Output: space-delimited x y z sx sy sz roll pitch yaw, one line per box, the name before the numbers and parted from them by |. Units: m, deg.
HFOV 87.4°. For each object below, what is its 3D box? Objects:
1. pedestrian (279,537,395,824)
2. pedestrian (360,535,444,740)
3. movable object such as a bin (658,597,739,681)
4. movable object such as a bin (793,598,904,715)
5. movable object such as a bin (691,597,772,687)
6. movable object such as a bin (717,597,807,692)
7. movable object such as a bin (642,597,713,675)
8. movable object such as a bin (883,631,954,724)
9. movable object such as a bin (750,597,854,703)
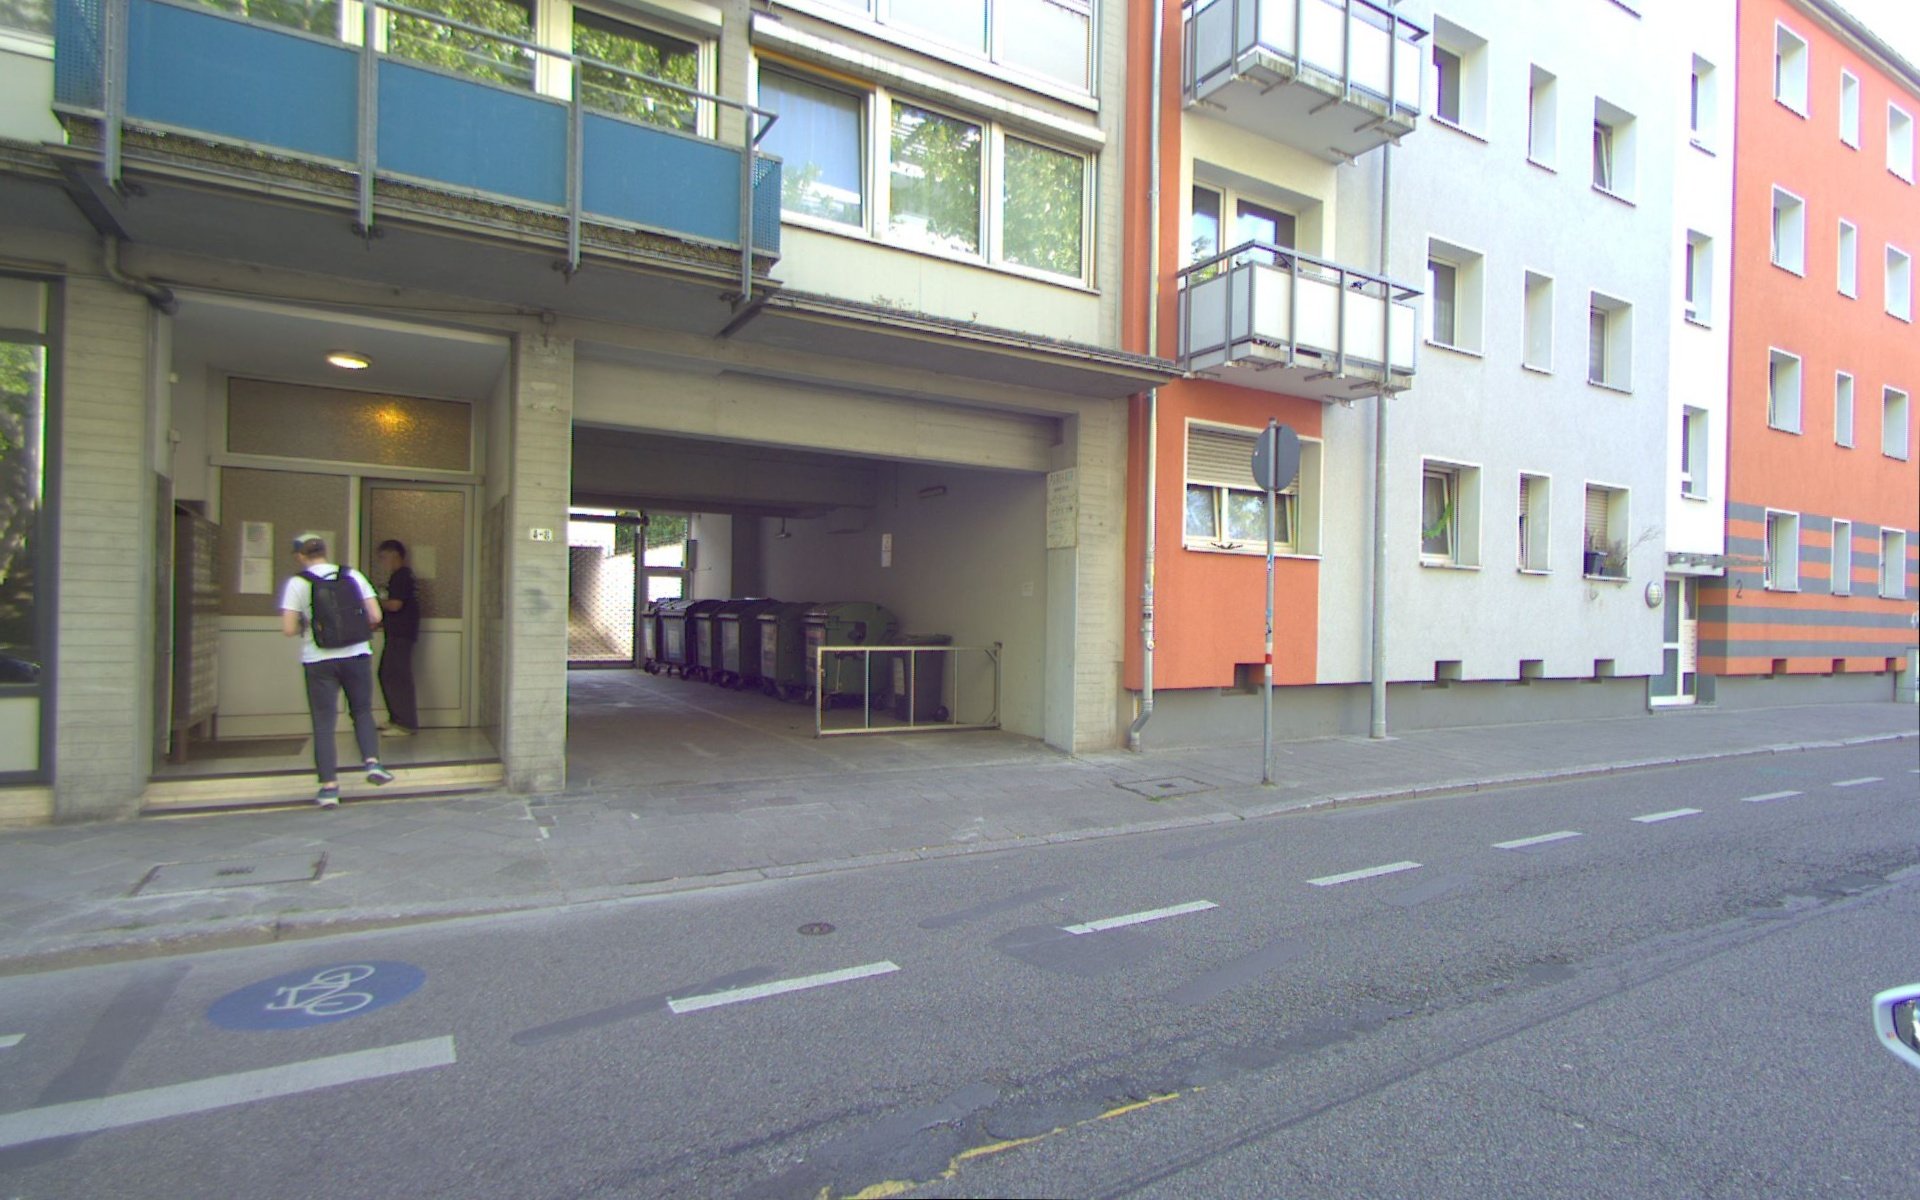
pedestrian | -4.252 0.505 6.902 0.594 1.824 0.873 1 1 -28
pedestrian | -4.953 0.326 8.949 0.540 1.736 0.658 1 0 -21
movable object such as a bin | -4.876 0.707 18.693 1.167 1.503 1.215 1 0 -30
movable object such as a bin | -1.543 0.738 13.754 1.086 1.503 1.251 1 0 -30
movable object such as a bin | -4.026 0.719 17.641 1.080 1.503 1.159 1 0 -30
movable object such as a bin | -3.293 0.722 16.642 1.167 1.503 1.073 1 0 -30
movable object such as a bin | -5.624 0.699 19.988 1.167 1.503 0.819 1 0 -30
movable object such as a bin | -0.519 0.940 12.444 0.687 1.094 0.579 1 0 -30
movable object such as a bin | -2.400 0.729 15.153 1.167 1.503 1.252 1 0 -30
